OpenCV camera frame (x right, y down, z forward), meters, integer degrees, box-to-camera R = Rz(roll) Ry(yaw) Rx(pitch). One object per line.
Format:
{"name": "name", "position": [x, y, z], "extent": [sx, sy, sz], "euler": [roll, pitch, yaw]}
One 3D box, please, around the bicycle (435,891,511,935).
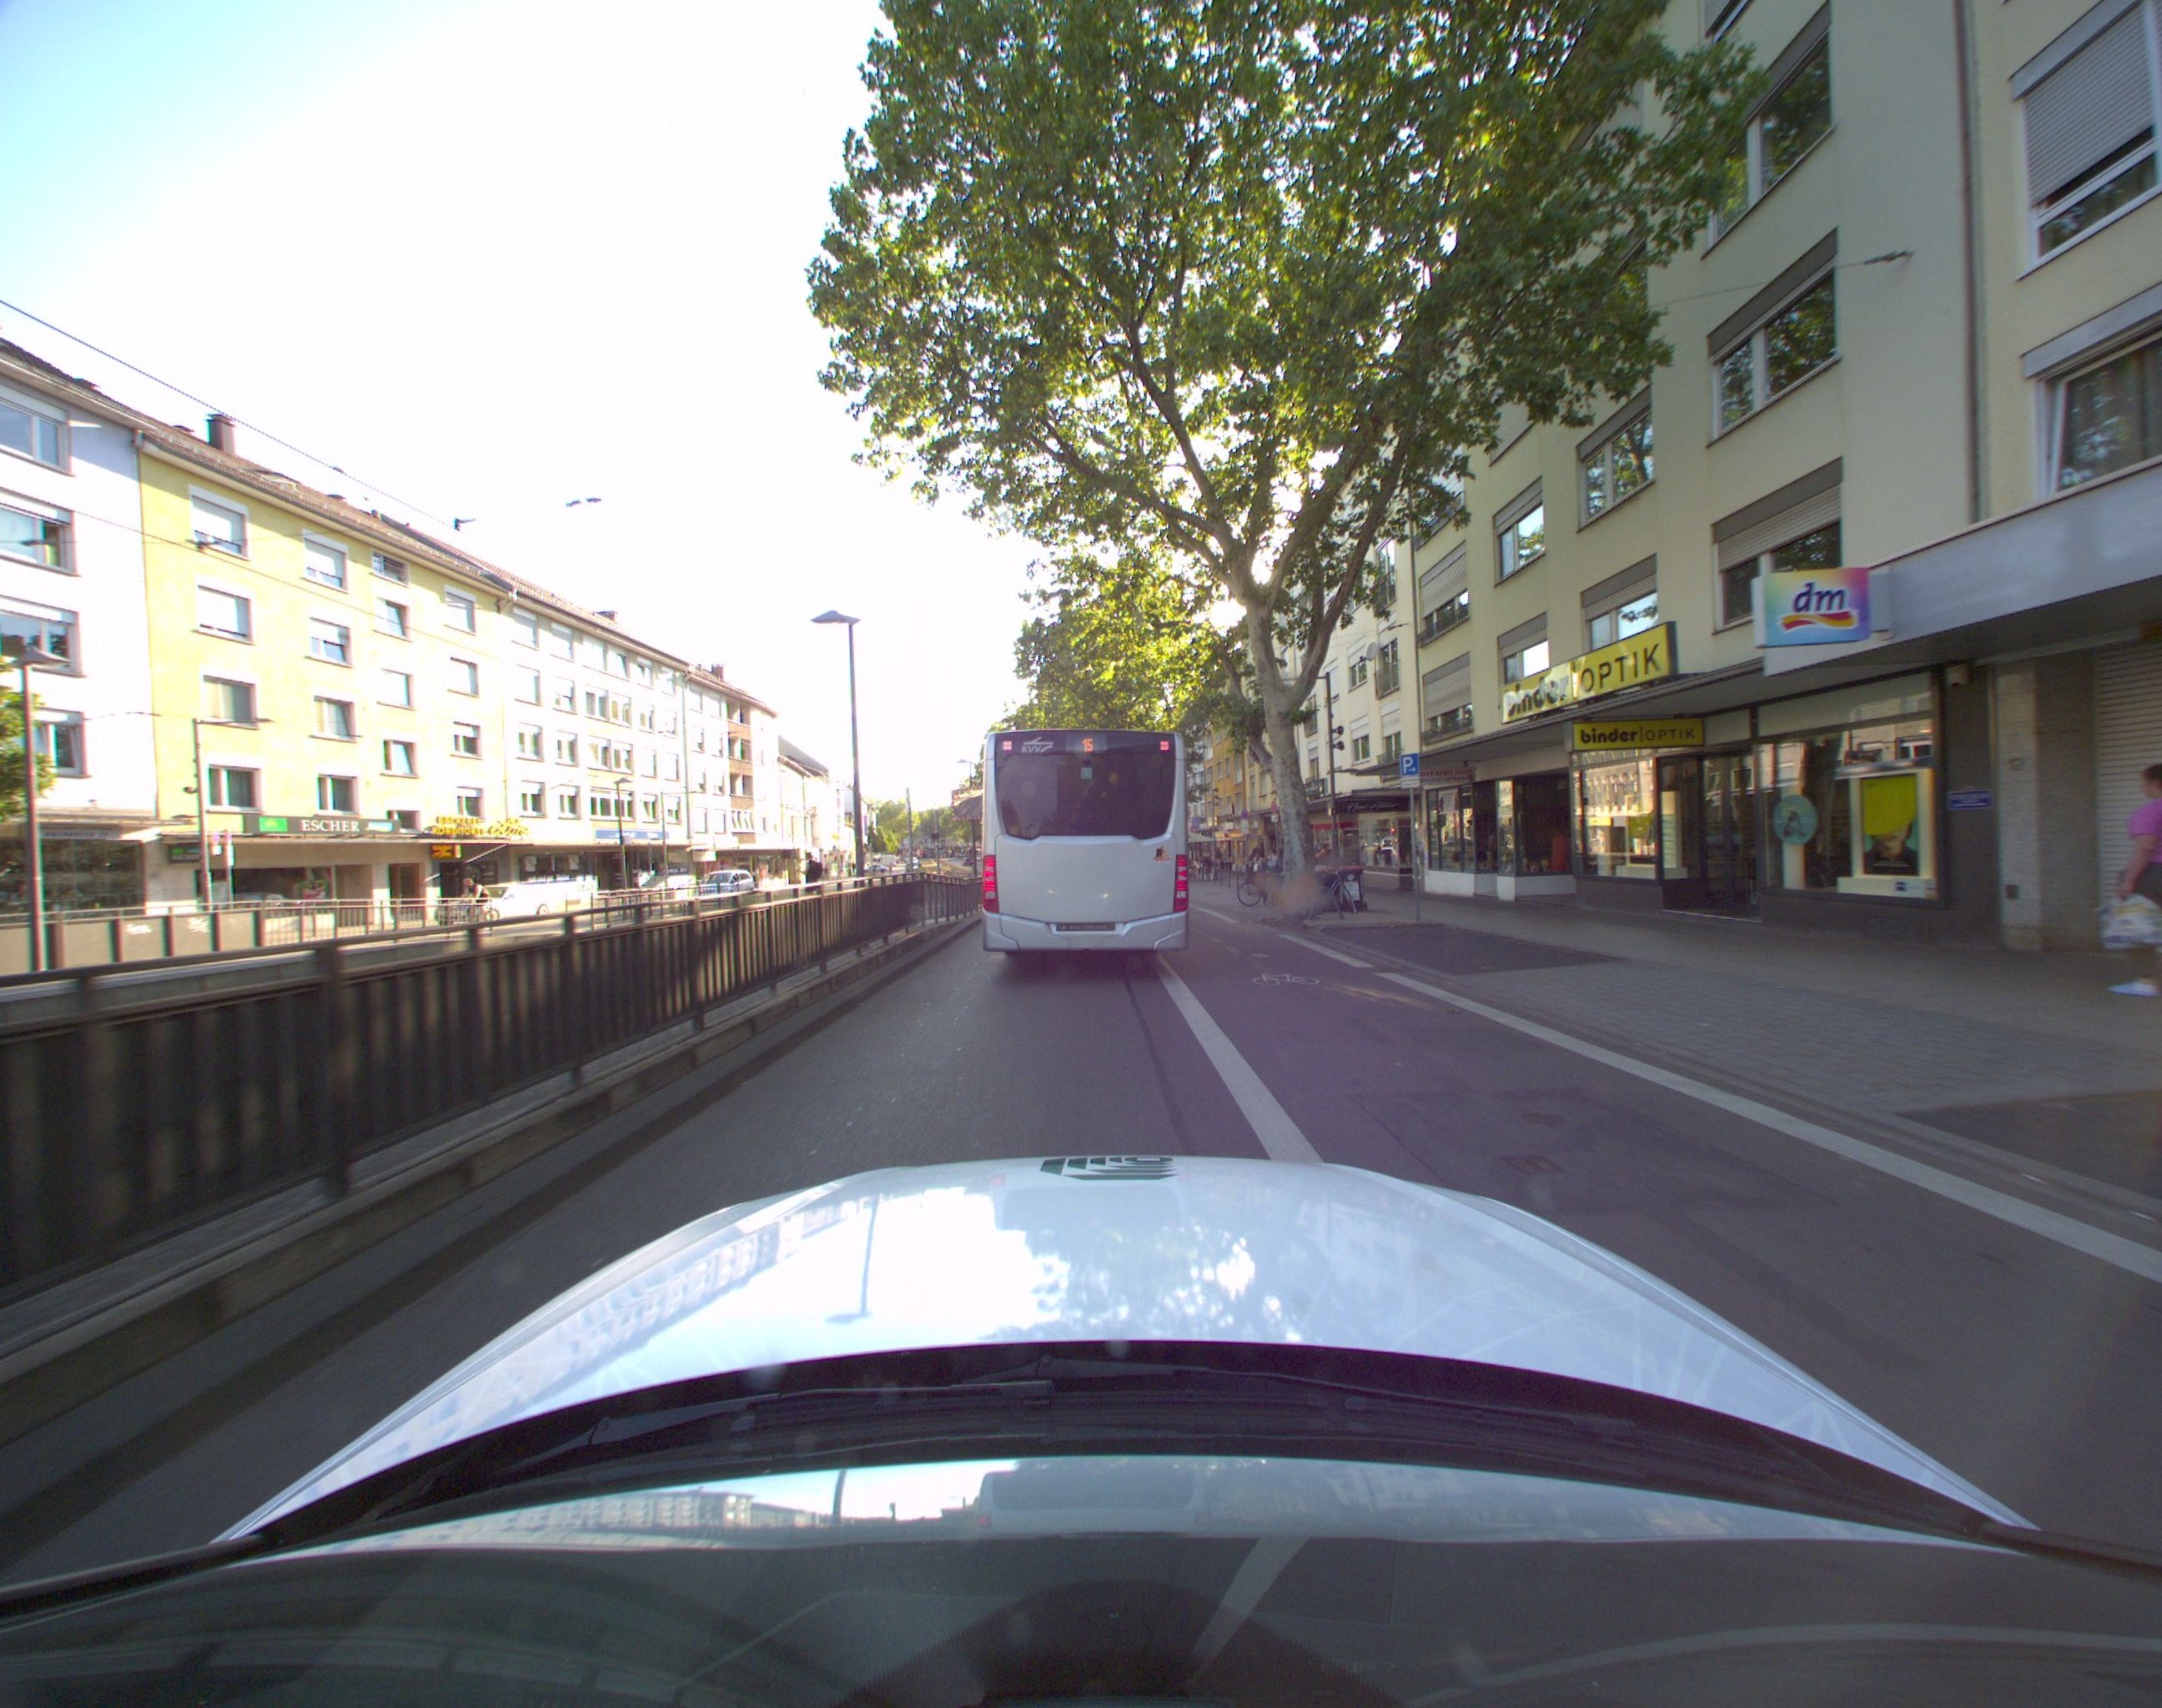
{"name": "bicycle", "position": [-19.945, 1.914, 26.779], "extent": [0.715, 1.230, 2.278], "euler": [-3, 0, 0]}

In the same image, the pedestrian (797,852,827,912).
{"name": "pedestrian", "position": [-8.629, 0.885, 26.161], "extent": [0.740, 1.849, 0.589], "euler": [-2, 0, -5]}

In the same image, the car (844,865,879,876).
{"name": "car", "position": [-32.734, 2.461, 121.398], "extent": [4.577, 1.412, 1.976], "euler": [-2, 0, -43]}

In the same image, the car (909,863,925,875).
{"name": "car", "position": [-23.415, 2.103, 116.397], "extent": [1.720, 1.509, 3.469], "euler": [-5, 0, -5]}

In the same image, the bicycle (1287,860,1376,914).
{"name": "bicycle", "position": [5.548, 0.743, 18.090], "extent": [1.711, 1.118, 0.745], "euler": [-2, -4, 1]}

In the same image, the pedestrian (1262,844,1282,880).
{"name": "pedestrian", "position": [8.533, 0.351, 36.339], "extent": [0.620, 1.586, 0.626], "euler": [-4, 0, -1]}

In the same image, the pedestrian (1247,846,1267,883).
{"name": "pedestrian", "position": [7.844, 0.477, 36.327], "extent": [0.633, 1.586, 0.626], "euler": [-4, 0, -1]}

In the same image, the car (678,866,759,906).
{"name": "car", "position": [-17.753, 1.523, 40.134], "extent": [1.987, 1.717, 4.434], "euler": [-2, 0, -1]}

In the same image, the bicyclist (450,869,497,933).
{"name": "bicyclist", "position": [-19.957, 1.523, 26.787], "extent": [0.761, 2.013, 0.911], "euler": [-3, 0, 0]}

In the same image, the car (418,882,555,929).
{"name": "car", "position": [-22.054, 1.871, 30.482], "extent": [1.988, 1.478, 4.407], "euler": [0, 0, -2]}

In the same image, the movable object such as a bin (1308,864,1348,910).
{"name": "movable object such as a bin", "position": [6.095, 0.808, 20.108], "extent": [0.720, 1.072, 0.644], "euler": [-4, -1, -2]}

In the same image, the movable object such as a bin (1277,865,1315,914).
{"name": "movable object such as a bin", "position": [5.256, 0.863, 19.977], "extent": [0.718, 1.102, 0.645], "euler": [-6, -1, 7]}

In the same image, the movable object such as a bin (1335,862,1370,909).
{"name": "movable object such as a bin", "position": [6.563, 0.755, 19.673], "extent": [0.716, 1.072, 0.647], "euler": [-4, -1, 19]}

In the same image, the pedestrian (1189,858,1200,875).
{"name": "pedestrian", "position": [7.444, 0.820, 53.441], "extent": [0.582, 1.115, 0.749], "euler": [0, -1, -6]}

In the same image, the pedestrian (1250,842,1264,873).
{"name": "pedestrian", "position": [10.546, 0.225, 48.828], "extent": [0.629, 1.804, 0.630], "euler": [-3, -1, 29]}

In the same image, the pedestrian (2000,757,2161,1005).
{"name": "pedestrian", "position": [8.161, 0.176, 6.186], "extent": [0.964, 1.763, 1.134], "euler": [-3, -1, 1]}

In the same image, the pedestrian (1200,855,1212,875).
{"name": "pedestrian", "position": [8.105, 0.688, 52.792], "extent": [0.582, 1.275, 0.757], "euler": [0, -1, -6]}

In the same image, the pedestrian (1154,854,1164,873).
{"name": "pedestrian", "position": [7.479, 0.896, 78.228], "extent": [0.779, 1.794, 0.762], "euler": [-2, 0, -6]}

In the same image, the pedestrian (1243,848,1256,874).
{"name": "pedestrian", "position": [10.473, 0.431, 50.681], "extent": [0.619, 1.546, 0.641], "euler": [-2, -1, 24]}

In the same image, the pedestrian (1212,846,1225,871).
{"name": "pedestrian", "position": [10.452, 0.343, 62.022], "extent": [0.704, 1.791, 0.787], "euler": [-5, 0, -1]}

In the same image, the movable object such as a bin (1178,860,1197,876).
{"name": "movable object such as a bin", "position": [7.096, 0.940, 54.375], "extent": [0.932, 1.023, 0.832], "euler": [0, -1, -29]}

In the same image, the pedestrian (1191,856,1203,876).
{"name": "pedestrian", "position": [7.273, 0.765, 51.076], "extent": [0.605, 1.225, 0.743], "euler": [-2, 0, -6]}

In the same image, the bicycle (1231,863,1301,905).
{"name": "bicycle", "position": [5.497, 0.893, 24.273], "extent": [1.897, 1.105, 0.519], "euler": [-5, -1, 7]}

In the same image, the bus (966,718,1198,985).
{"name": "bus", "position": [-0.035, -0.042, 13.100], "extent": [2.670, 3.083, 7.111], "euler": [-1, 0, -1]}
